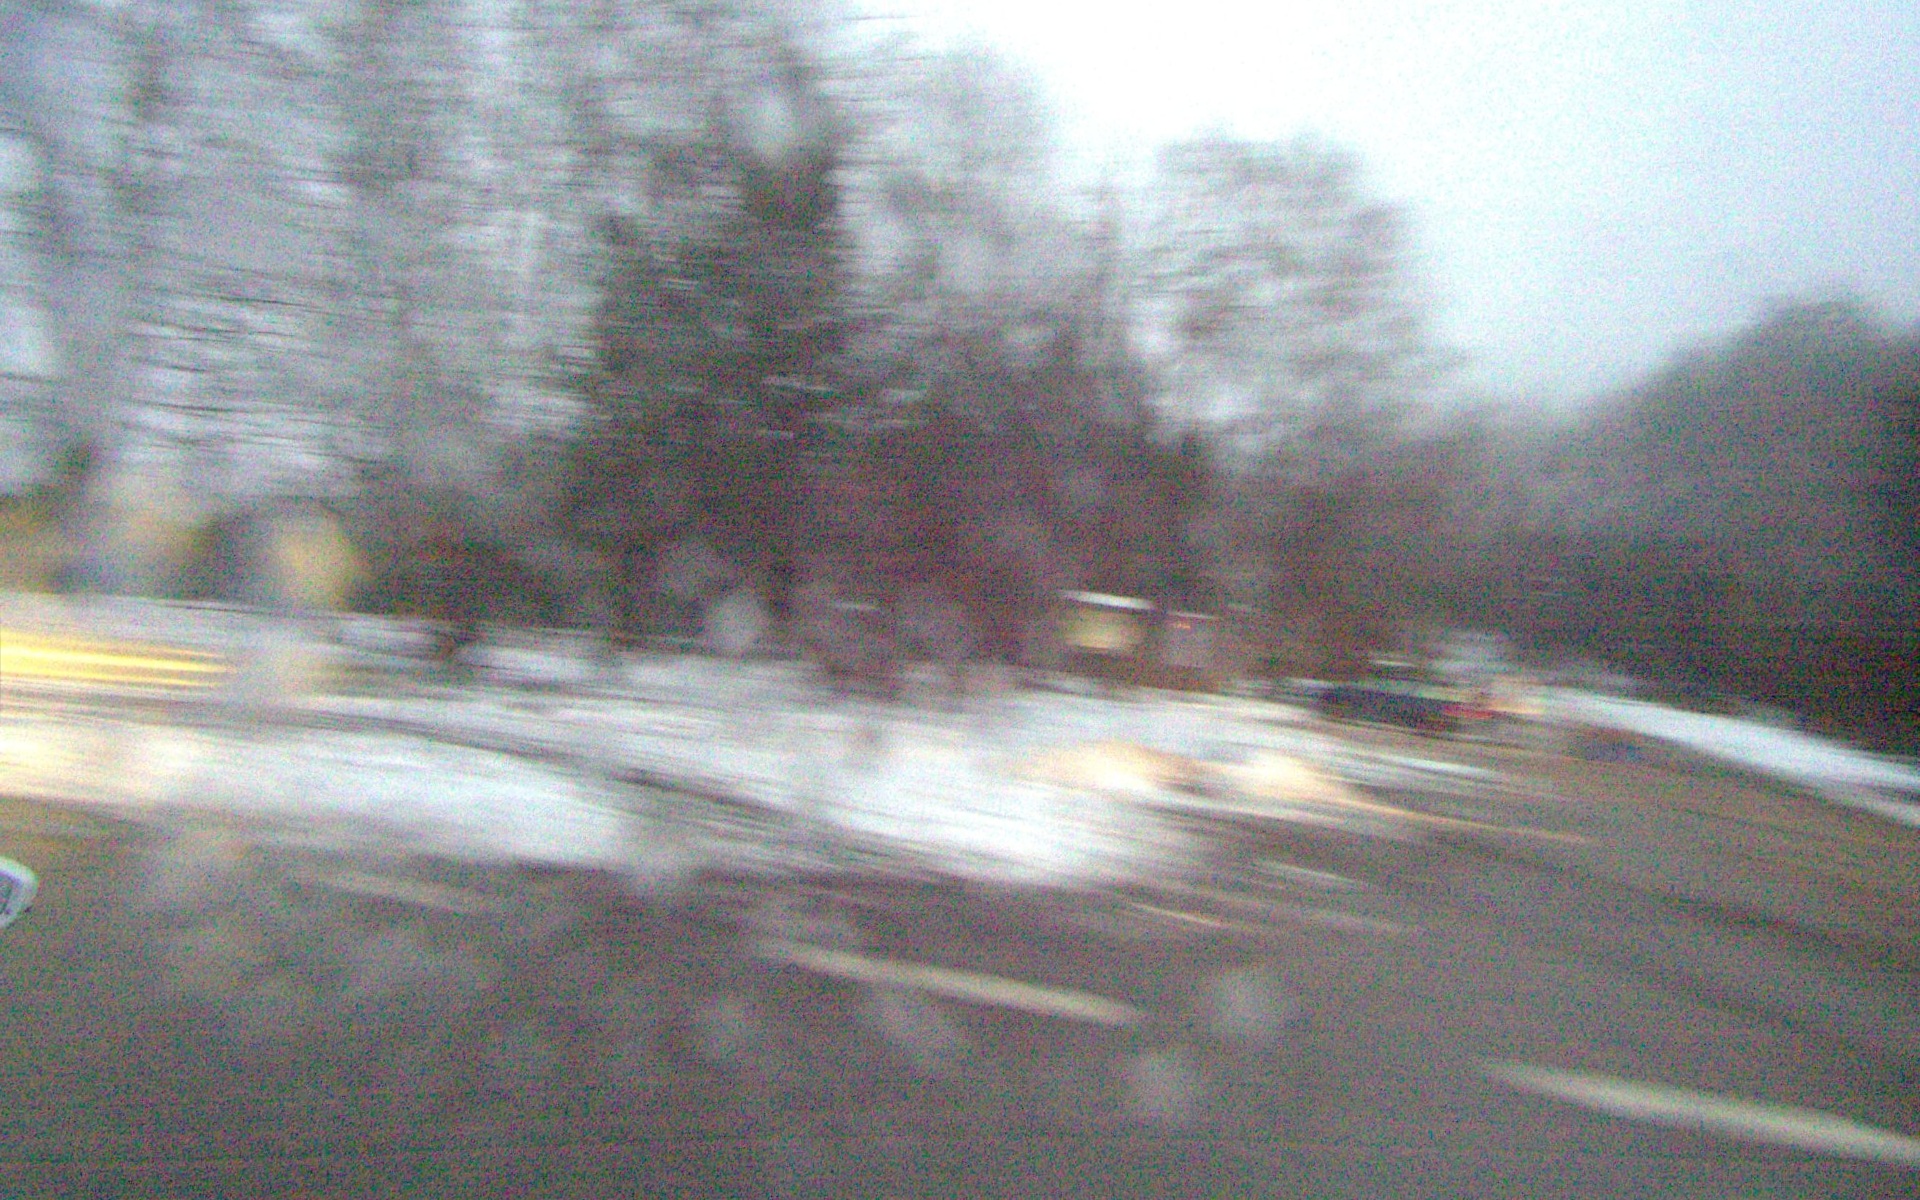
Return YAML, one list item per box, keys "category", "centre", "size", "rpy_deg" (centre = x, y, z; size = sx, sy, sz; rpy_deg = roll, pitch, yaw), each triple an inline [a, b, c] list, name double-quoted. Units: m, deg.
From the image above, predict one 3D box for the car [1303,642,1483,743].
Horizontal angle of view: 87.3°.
- category: "car"
  centre: [11.123, 2.353, 25.862]
  size: [3.892, 1.903, 1.999]
  rpy_deg: [7, -1, 29]

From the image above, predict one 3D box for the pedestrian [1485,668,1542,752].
- category: "pedestrian"
  centre: [13.292, 2.640, 24.150]
  size: [0.948, 1.849, 0.923]
  rpy_deg: [8, -1, 33]
